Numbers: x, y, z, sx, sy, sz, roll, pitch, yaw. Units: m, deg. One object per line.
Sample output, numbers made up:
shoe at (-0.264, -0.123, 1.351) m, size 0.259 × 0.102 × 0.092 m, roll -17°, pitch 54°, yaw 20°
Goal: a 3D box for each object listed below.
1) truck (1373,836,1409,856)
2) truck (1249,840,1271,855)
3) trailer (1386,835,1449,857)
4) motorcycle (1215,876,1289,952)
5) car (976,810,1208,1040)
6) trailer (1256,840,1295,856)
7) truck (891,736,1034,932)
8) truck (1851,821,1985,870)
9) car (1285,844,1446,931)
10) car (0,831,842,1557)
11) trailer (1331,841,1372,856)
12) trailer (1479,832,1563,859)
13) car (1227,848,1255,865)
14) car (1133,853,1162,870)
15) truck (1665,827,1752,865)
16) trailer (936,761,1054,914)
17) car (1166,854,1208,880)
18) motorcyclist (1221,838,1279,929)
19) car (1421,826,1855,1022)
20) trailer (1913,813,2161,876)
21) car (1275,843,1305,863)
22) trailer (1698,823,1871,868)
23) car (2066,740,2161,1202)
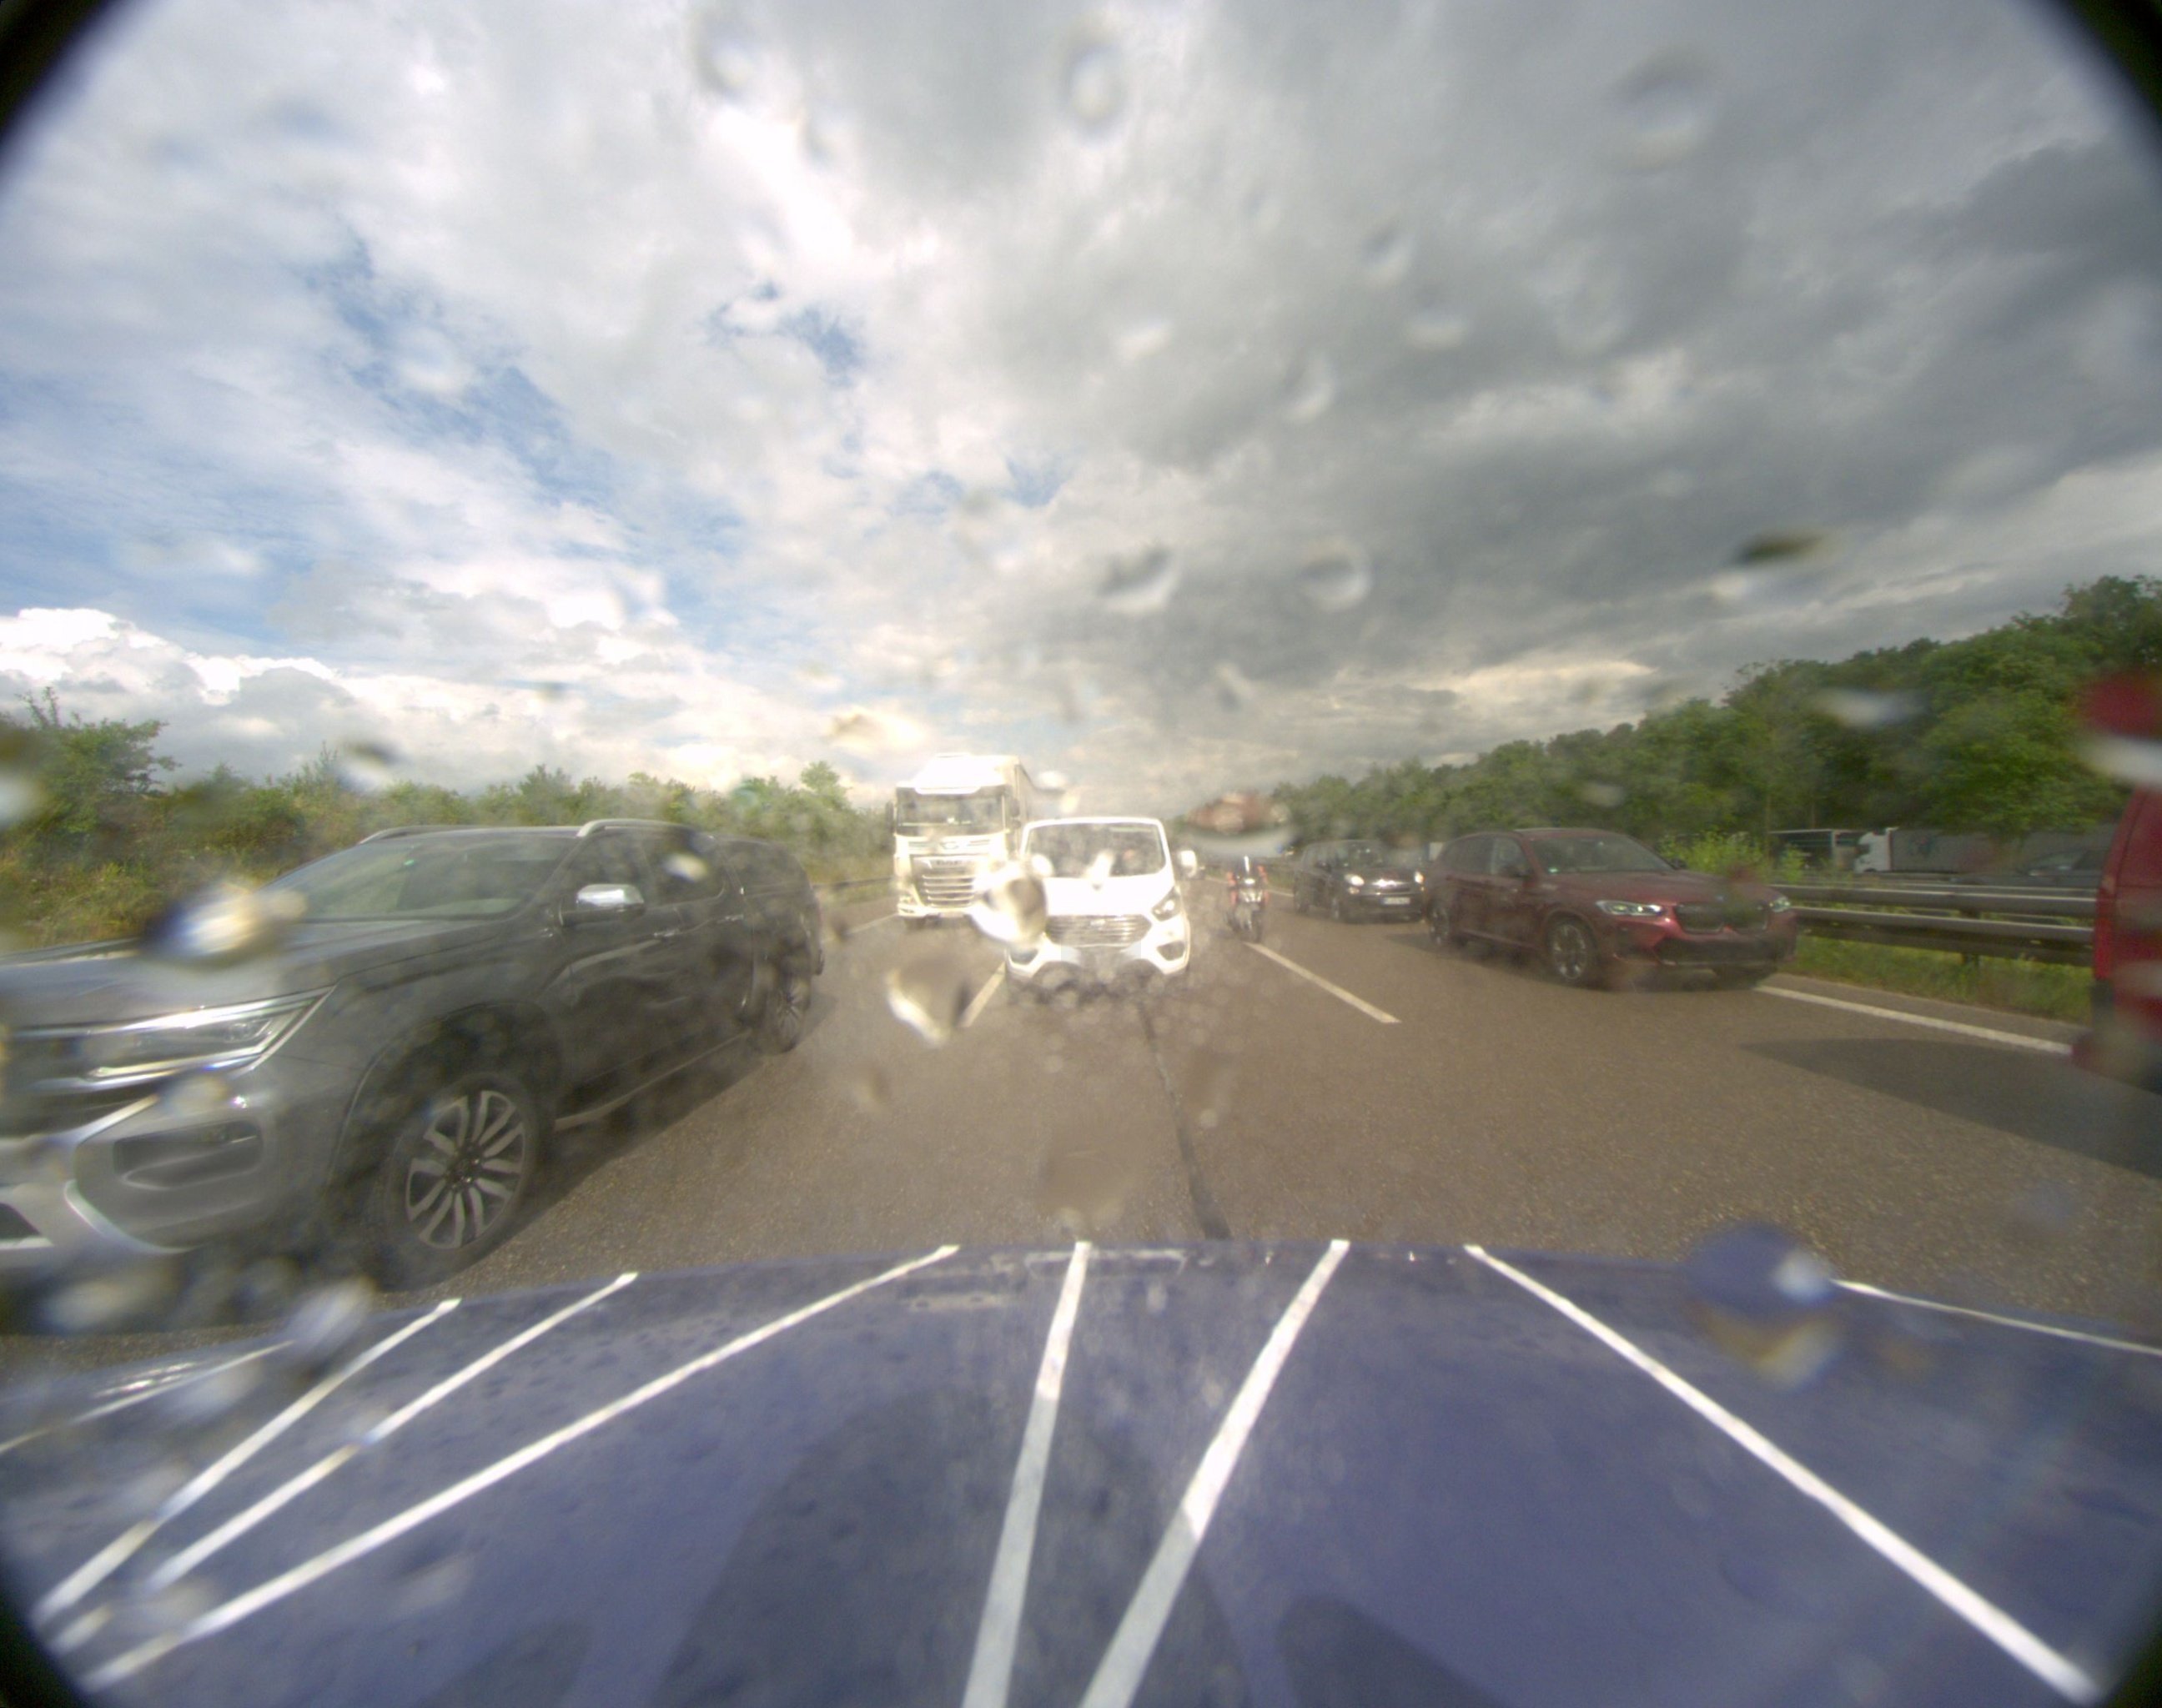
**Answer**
truck at (53.166, -1.359, 130.407) m, size 3.082 × 3.237 × 6.093 m, roll 0°, pitch 1°, yaw -6°
truck at (42.326, -1.421, 179.787) m, size 2.700 × 3.462 × 6.332 m, roll 0°, pitch 0°, yaw -13°
trailer at (53.962, -1.281, 122.364) m, size 3.085 × 3.253 × 13.401 m, roll 0°, pitch 0°, yaw -6°
motorcycle at (2.803, 0.949, 12.664) m, size 0.677 × 1.080 × 1.981 m, roll -2°, pitch 0°, yaw -2°
car at (0.131, 0.624, 9.328) m, size 1.985 × 1.973 × 5.168 m, roll -2°, pitch 0°, yaw 1°
trailer at (43.987, -1.386, 172.848) m, size 2.707 × 3.492 × 13.404 m, roll 0°, pitch 1°, yaw -13°
truck at (-2.688, -0.431, 18.849) m, size 2.460 × 4.080 × 5.332 m, roll -2°, pitch 0°, yaw 1°
truck at (56.724, -0.571, 51.706) m, size 3.049 × 3.165 × 5.598 m, roll 0°, pitch 0°, yaw 3°
car at (5.823, 0.615, 16.110) m, size 1.895 × 1.558 × 4.053 m, roll -2°, pitch 0°, yaw 1°
car at (-3.242, 0.849, 4.530) m, size 1.831 × 1.793 × 5.305 m, roll -2°, pitch 0°, yaw 1°
trailer at (50.704, -0.990, 142.712) m, size 2.537 × 2.559 × 9.870 m, roll -2°, pitch 1°, yaw -10°
trailer at (56.104, -1.085, 97.472) m, size 3.193 × 3.253 × 12.645 m, roll 0°, pitch 0°, yaw -2°
car at (14.877, 0.224, 70.879) m, size 1.806 × 1.444 × 4.000 m, roll -1°, pitch 0°, yaw 1°
car at (5.282, 0.553, 60.593) m, size 1.888 × 1.228 × 4.506 m, roll -2°, pitch 0°, yaw 1°
truck at (57.128, -0.733, 69.376) m, size 2.582 × 3.232 × 6.535 m, roll 0°, pitch 1°, yaw 1°
trailer at (-2.558, -0.502, 26.827) m, size 2.451 × 4.095 × 12.215 m, roll -2°, pitch 1°, yaw 1°
car at (5.700, 0.680, 41.274) m, size 1.675 × 1.228 × 4.000 m, roll -2°, pitch 0°, yaw 1°
motorcyclist at (2.785, 0.467, 12.613) m, size 0.672 × 1.433 × 1.019 m, roll -2°, pitch 1°, yaw -2°
car at (5.840, 0.602, 8.802) m, size 1.895 × 1.660 × 4.294 m, roll -2°, pitch 0°, yaw 1°
trailer at (56.368, -0.527, 44.211) m, size 3.026 × 3.174 × 12.176 m, roll 0°, pitch 0°, yaw 3°
car at (21.883, -0.125, 79.755) m, size 1.998 × 2.002 × 3.999 m, roll -2°, pitch 1°, yaw 1°
trailer at (57.050, -0.675, 62.404) m, size 2.611 × 3.253 × 12.647 m, roll 0°, pitch 0°, yaw 1°
car at (5.509, 0.477, 1.144) m, size 1.895 × 1.973 × 4.750 m, roll -2°, pitch 0°, yaw 1°
